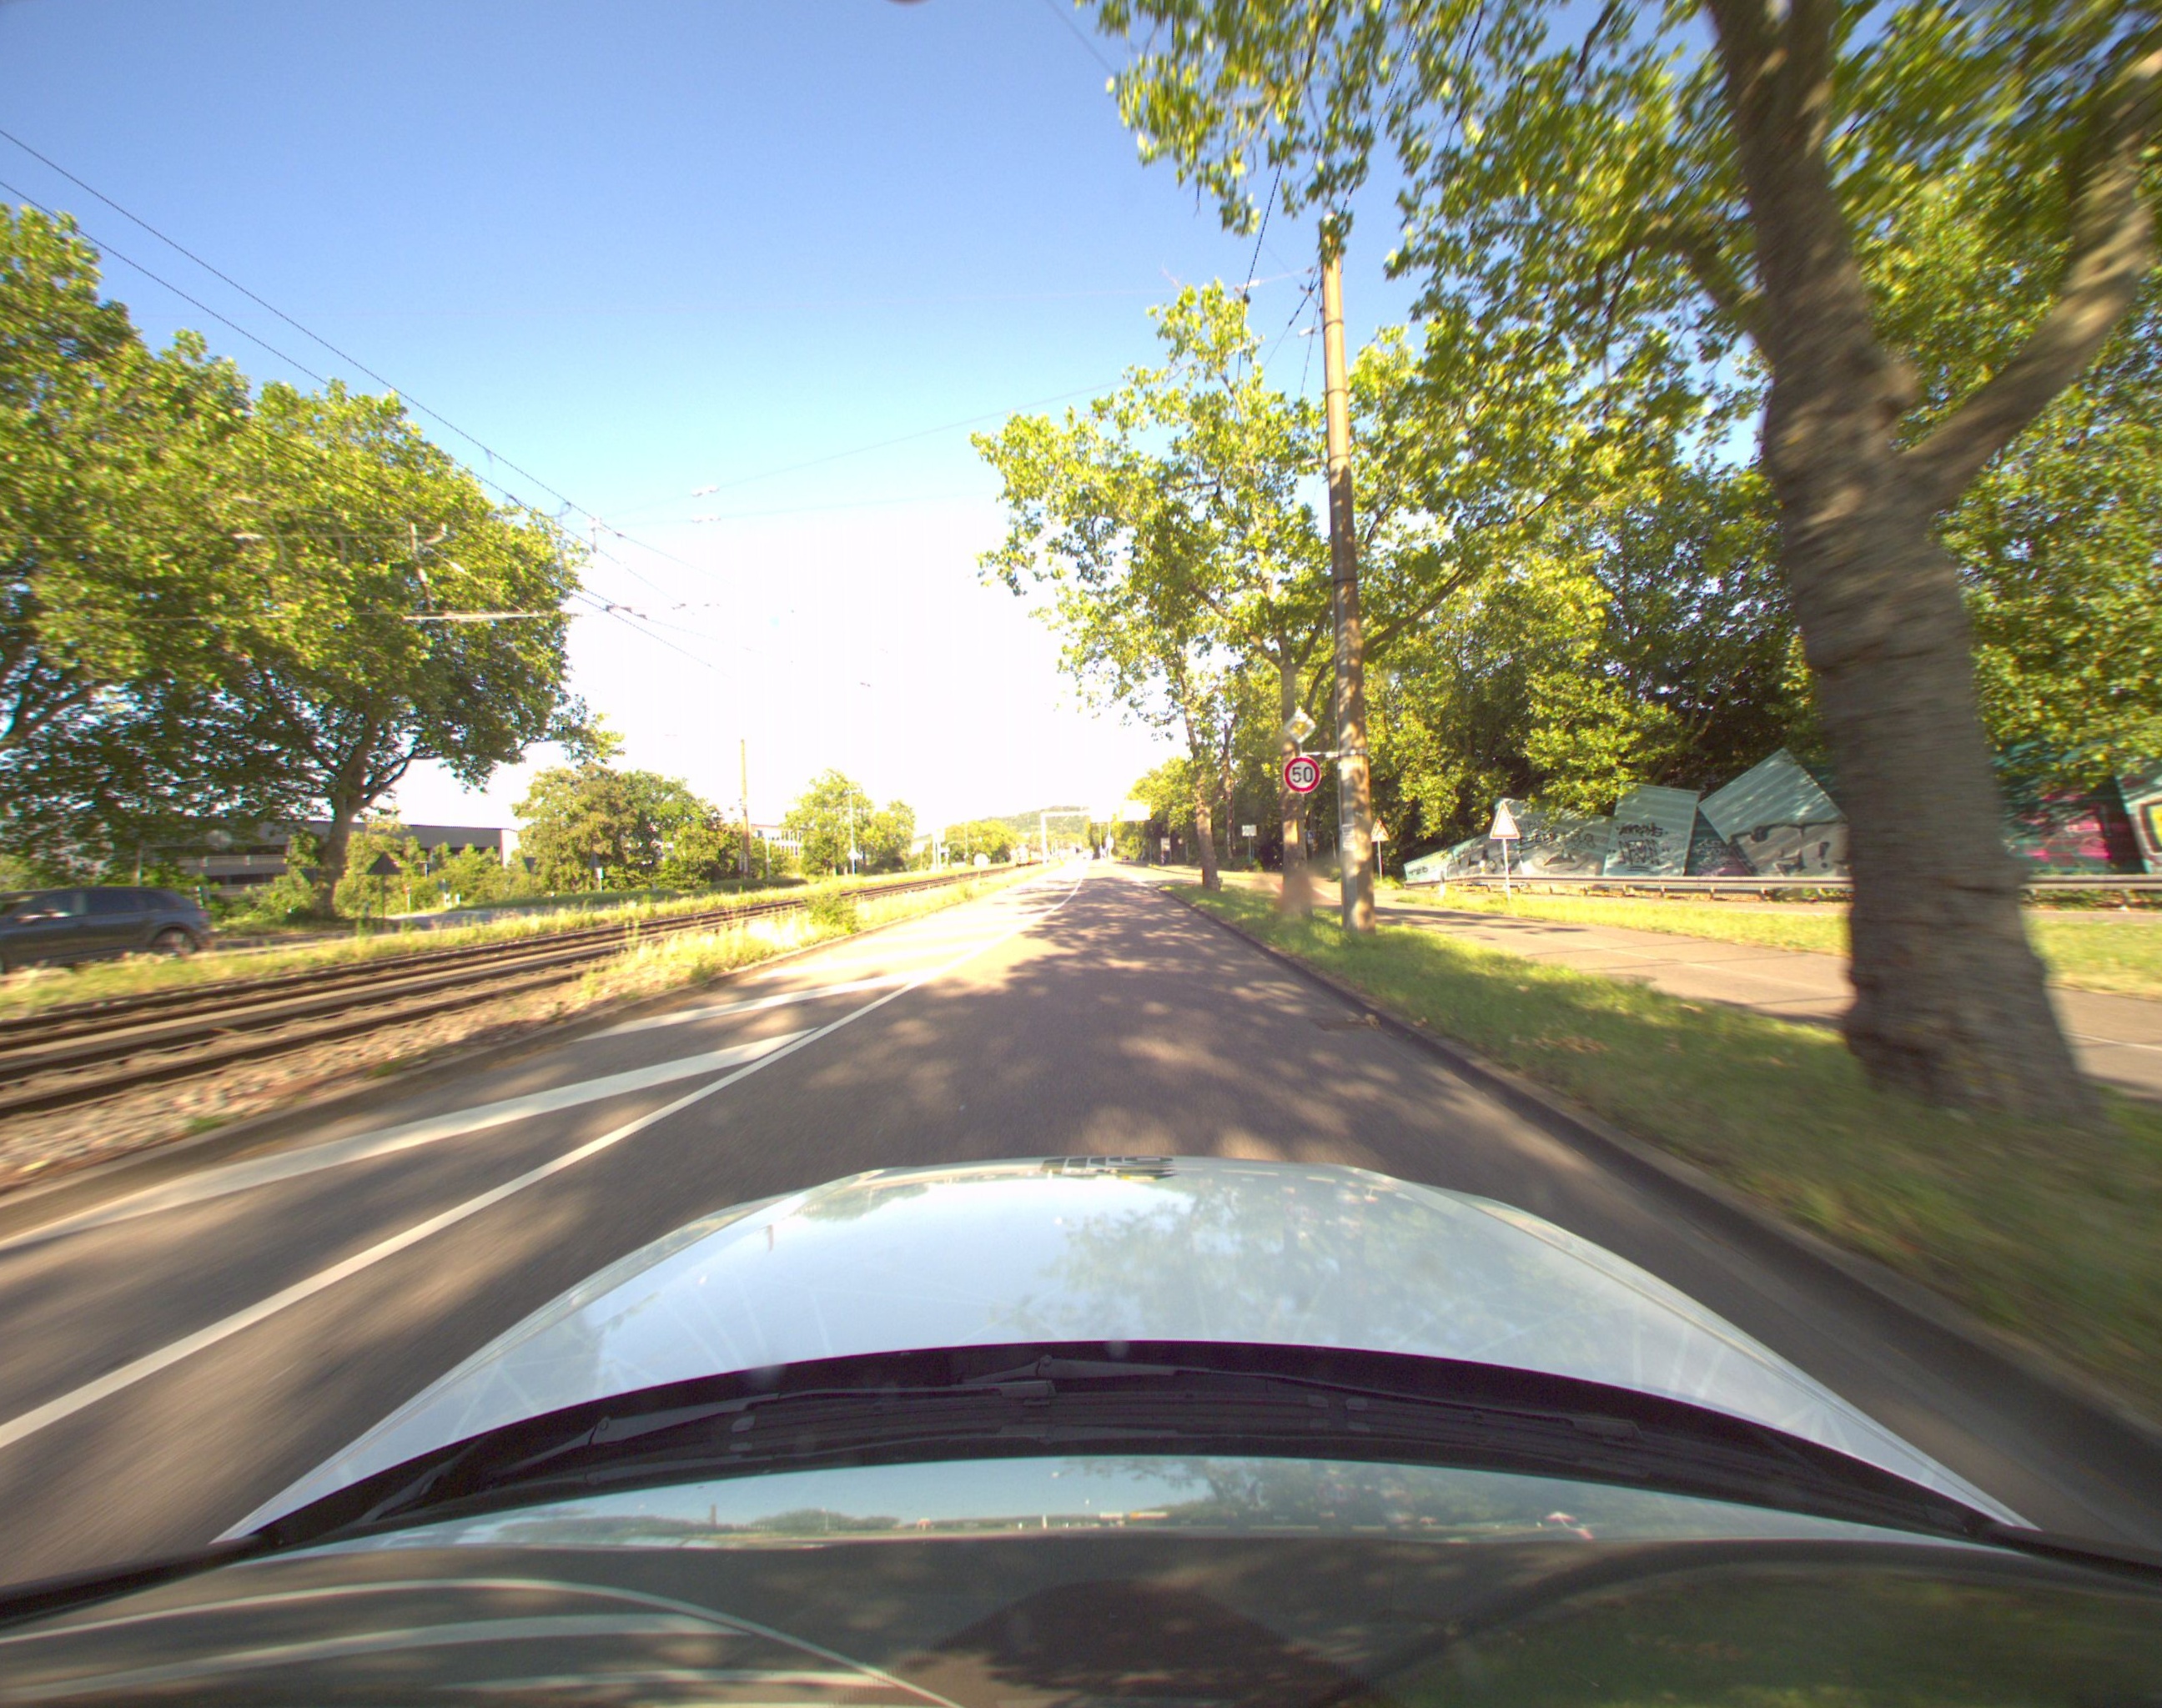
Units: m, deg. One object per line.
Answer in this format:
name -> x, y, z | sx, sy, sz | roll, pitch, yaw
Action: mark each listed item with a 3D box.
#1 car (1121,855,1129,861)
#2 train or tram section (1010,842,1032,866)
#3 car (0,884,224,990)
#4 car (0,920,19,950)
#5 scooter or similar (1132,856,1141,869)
car -> 12.107, 1.152, 223.781 | 2.075, 1.566, 3.962 | -1, 0, 6
train or tram section -> -10.181, 0.038, 140.210 | 2.795, 3.902, 12.329 | -1, 0, 0
car -> -19.460, 1.549, 15.090 | 1.893, 1.694, 4.938 | -4, 0, -1
car -> -58.576, 4.334, 42.000 | 4.287, 1.525, 1.642 | -2, -3, -31
scooter or similar -> 11.558, 1.782, 169.770 | 1.675, 2.716, 4.869 | -1, 0, 1
